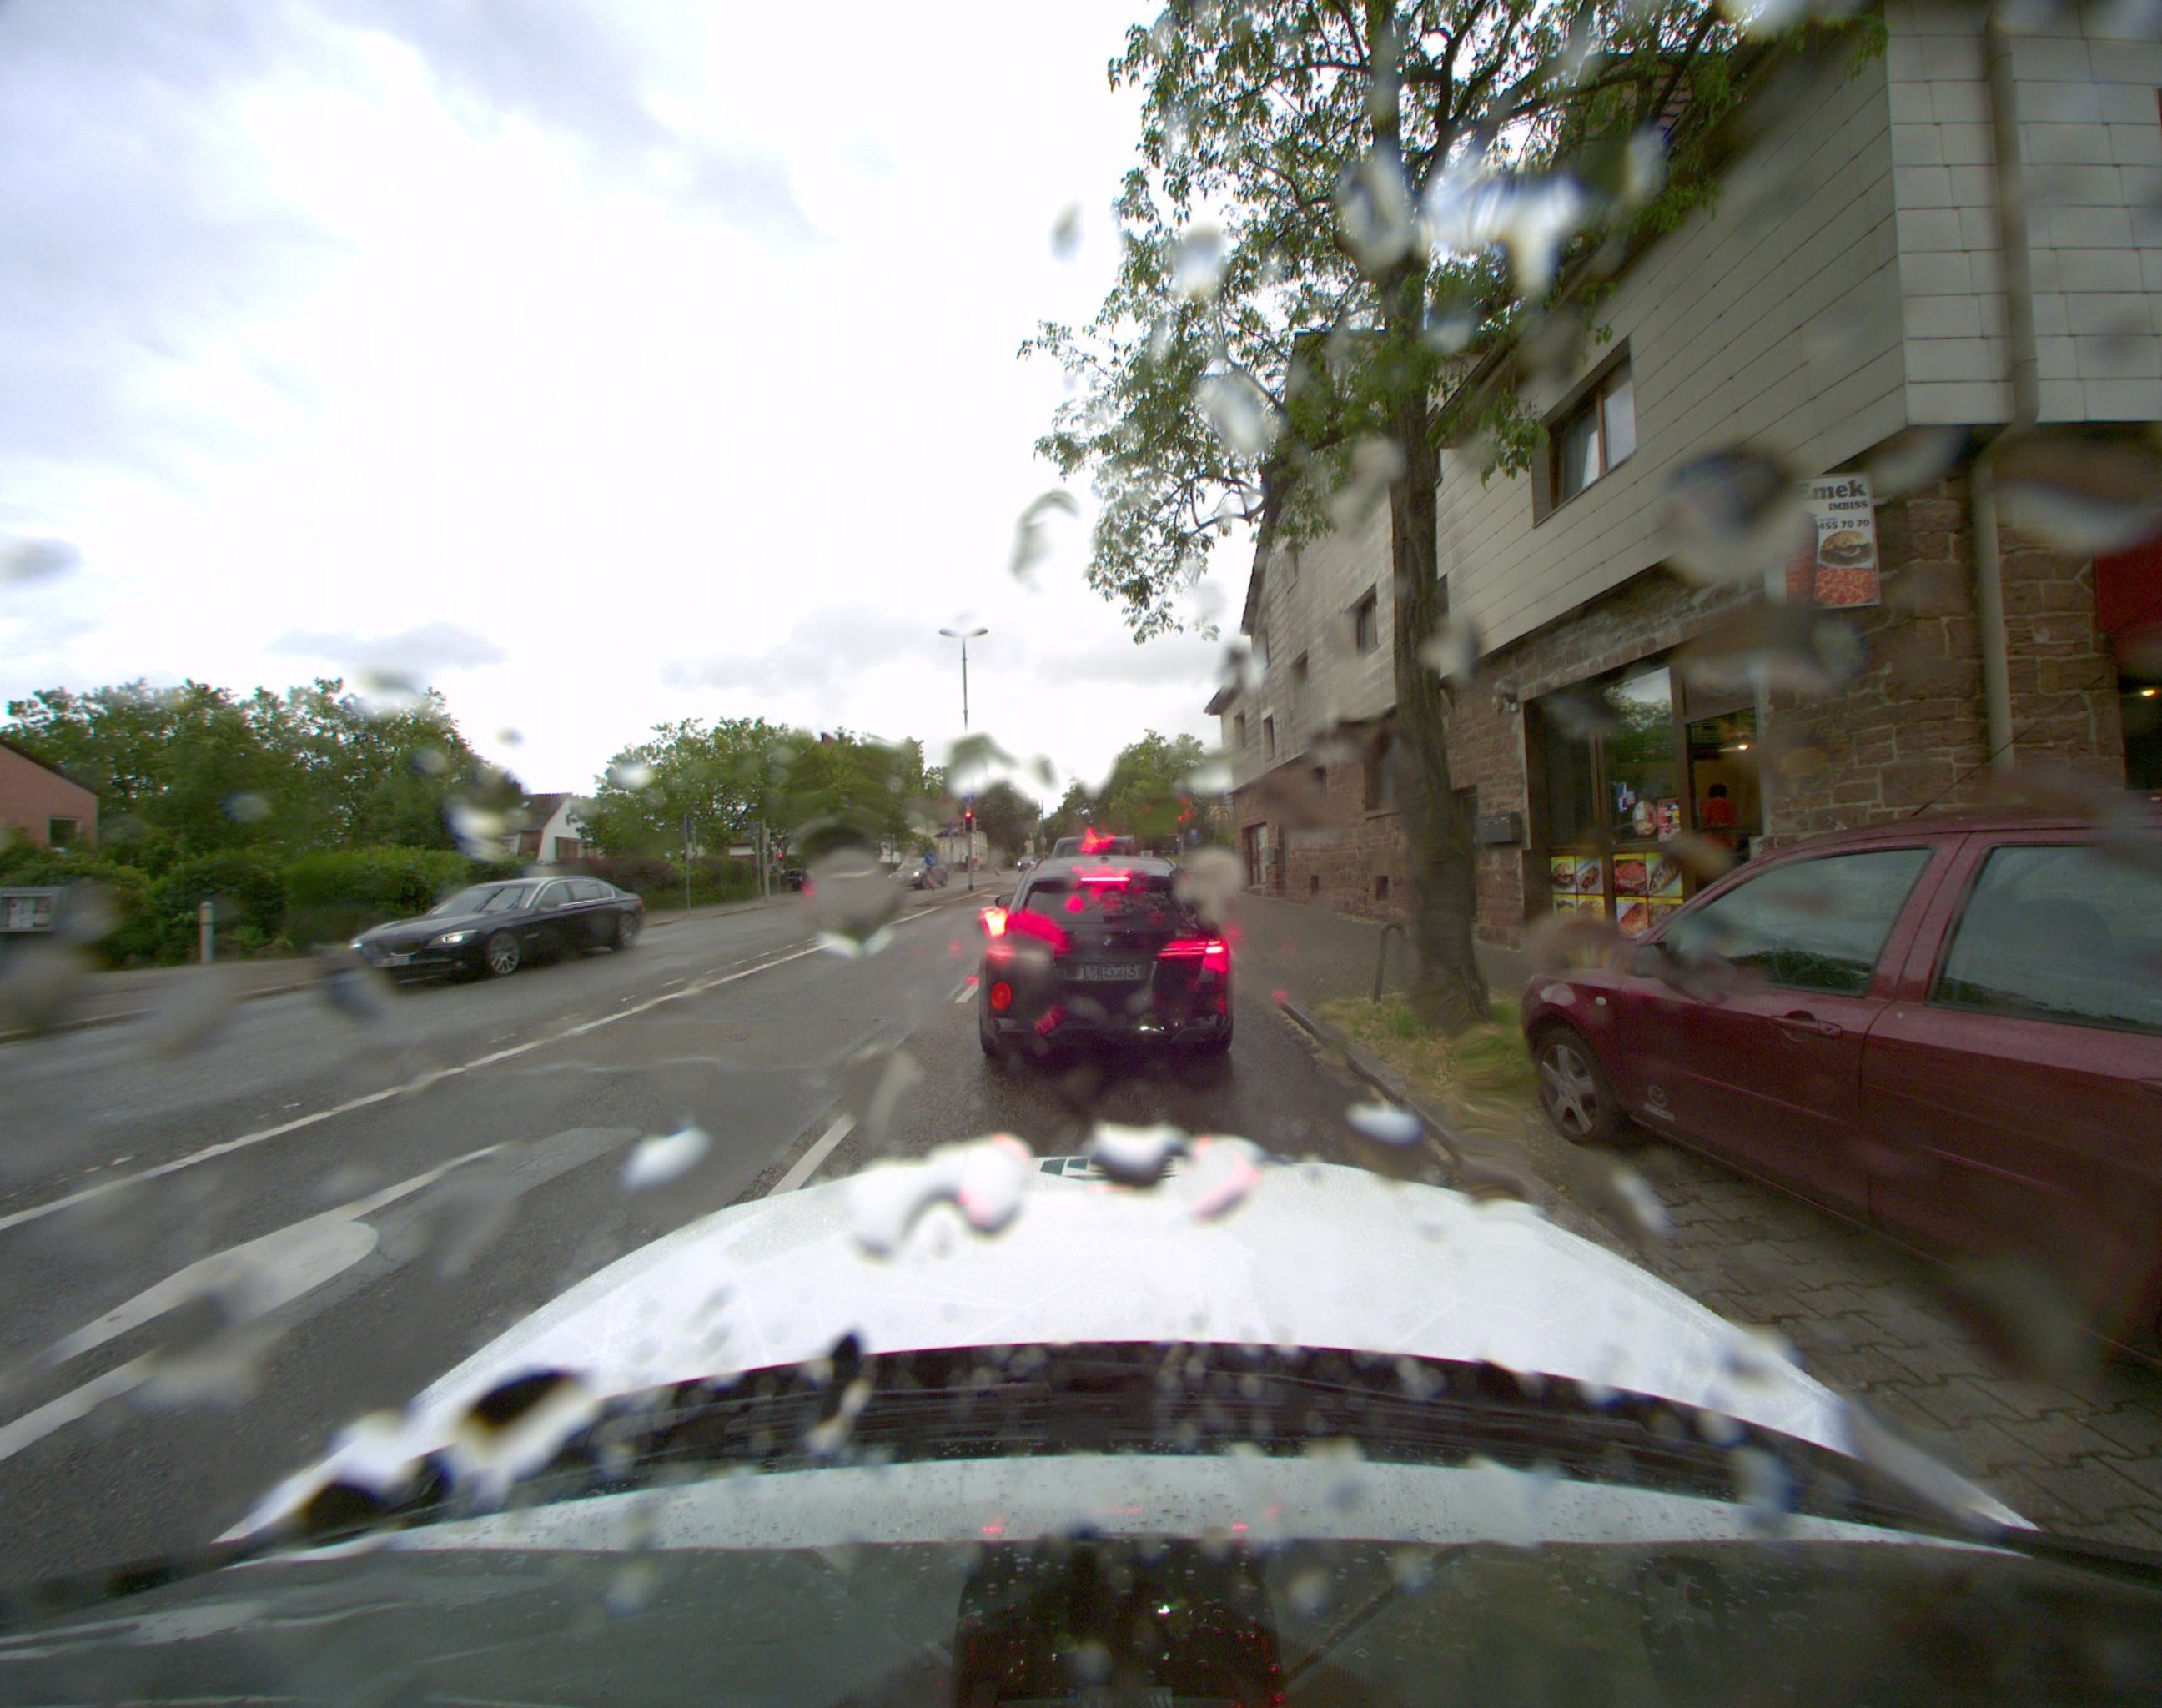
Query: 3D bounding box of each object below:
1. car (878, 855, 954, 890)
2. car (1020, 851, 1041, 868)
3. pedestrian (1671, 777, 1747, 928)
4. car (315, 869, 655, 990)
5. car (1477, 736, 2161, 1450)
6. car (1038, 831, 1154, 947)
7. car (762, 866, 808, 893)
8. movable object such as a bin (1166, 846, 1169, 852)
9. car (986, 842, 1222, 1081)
[{"bbox_3d":[-8.537,0.946,42.614,1.893,1.590,4.338,-3,0,18],"label":"car"},{"bbox_3d":[-5.147,0.530,83.503,1.893,1.577,4.500,-2,1,-1],"label":"car"},{"bbox_3d":[7.091,-0.012,9.208,0.490,1.660,0.455,0,-1,1],"label":"pedestrian"},{"bbox_3d":[-9.373,1.074,13.518,1.904,1.454,4.947,-4,0,0],"label":"car"},{"bbox_3d":[3.061,0.533,2.695,1.606,1.504,3.754,0,-2,-1],"label":"car"},{"bbox_3d":[0.198,0.560,14.609,1.807,1.809,3.754,0,-1,-1],"label":"car"},{"bbox_3d":[-20.973,1.774,57.886,1.803,1.551,4.001,0,3,0],"label":"car"},{"bbox_3d":[12.238,-0.718,115.191,0.446,0.906,0.465,-1,-1,17],"label":"movable object such as a bin"},{"bbox_3d":[0.120,0.707,7.044,1.519,1.534,3.530,0,-1,-1],"label":"car"}]
